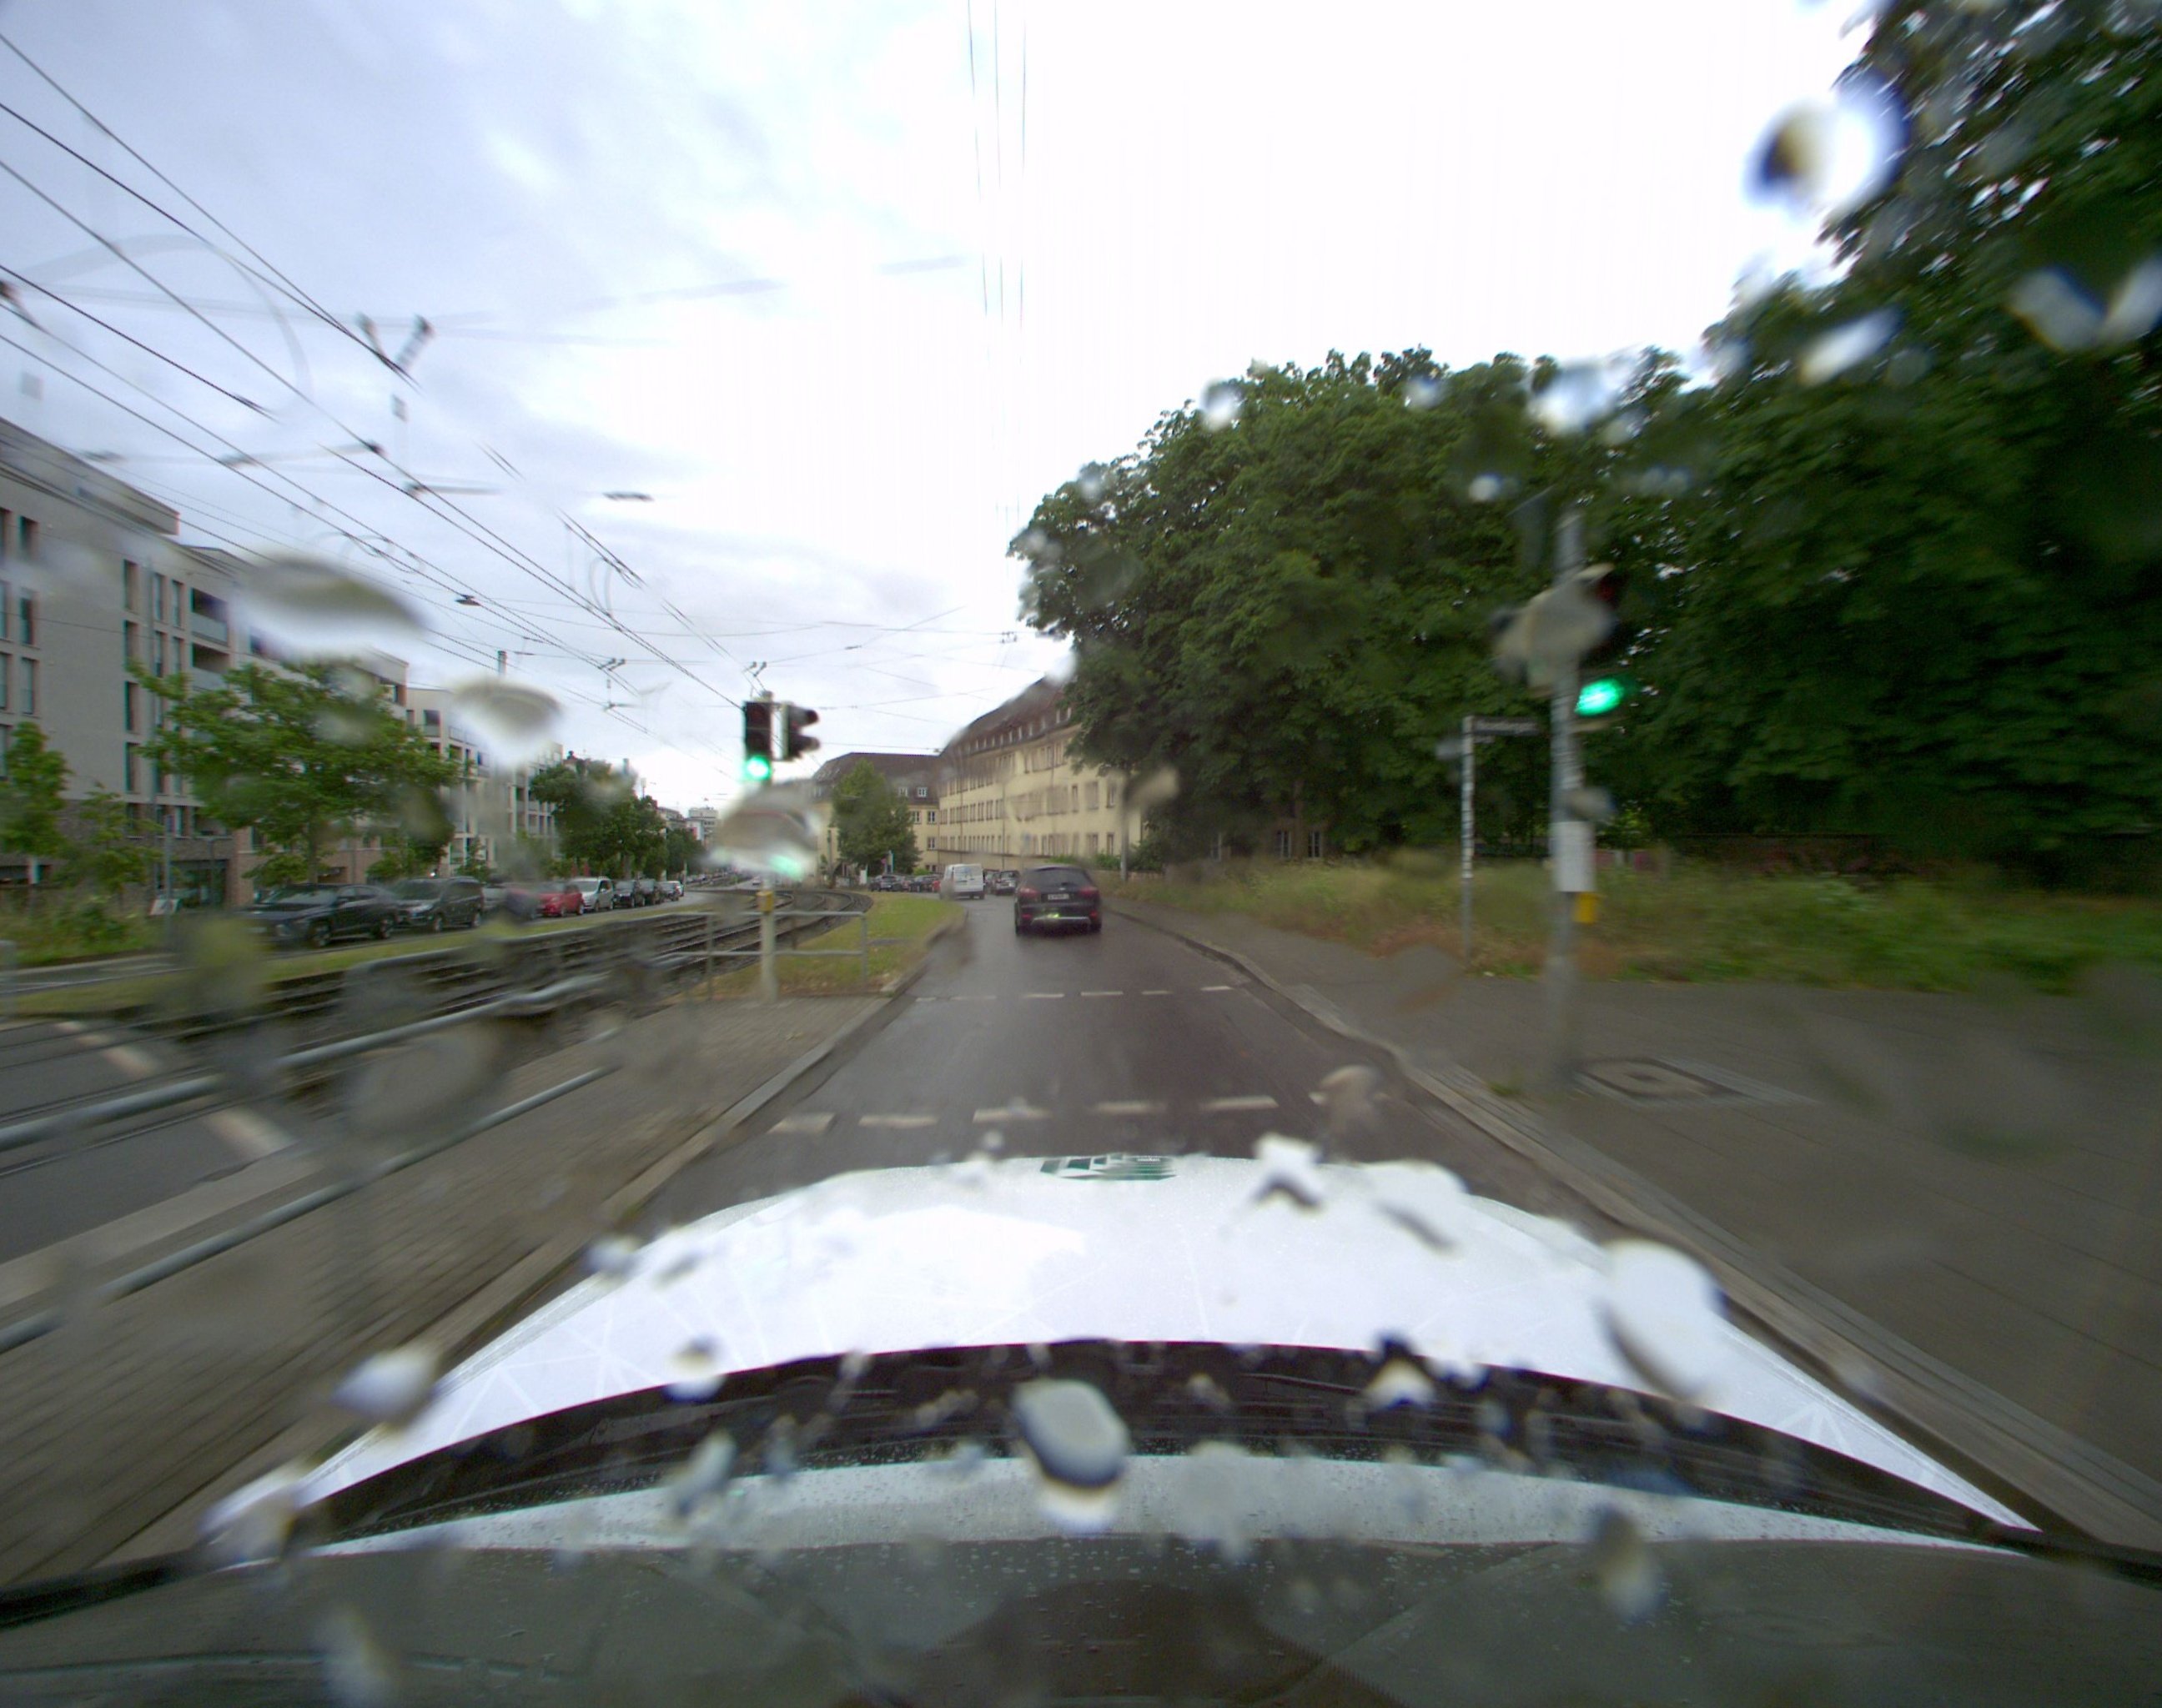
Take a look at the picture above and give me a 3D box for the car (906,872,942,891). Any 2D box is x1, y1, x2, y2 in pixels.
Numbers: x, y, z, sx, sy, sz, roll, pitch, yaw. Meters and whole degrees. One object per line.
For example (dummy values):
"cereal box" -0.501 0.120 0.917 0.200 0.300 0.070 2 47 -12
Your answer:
"car" -13.012 2.282 67.432 1.675 1.476 4.417 -2 -1 -27

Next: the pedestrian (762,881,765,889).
"pedestrian" -57.824 5.661 148.195 0.512 1.315 0.501 -1 -2 -28

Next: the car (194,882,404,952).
"car" -20.113 1.559 21.269 1.996 1.605 4.195 2 -2 -13

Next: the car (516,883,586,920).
"car" -23.308 2.052 35.915 1.469 1.531 2.921 1 -2 -10

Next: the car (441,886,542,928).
"car" -22.706 1.999 31.568 1.552 1.447 4.378 0 -2 -13

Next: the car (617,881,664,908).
"car" -27.712 2.497 51.376 1.808 1.584 4.667 0 -2 -19

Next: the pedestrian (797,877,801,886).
"pedestrian" -41.569 4.043 120.049 0.507 1.315 0.506 -1 -2 -31

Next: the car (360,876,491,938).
"car" -21.252 1.660 26.639 1.583 1.859 4.312 1 -2 -14

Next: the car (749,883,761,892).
"car" -65.696 6.683 164.239 2.000 1.772 3.973 -1 -1 -20

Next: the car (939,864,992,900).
"car" -6.223 1.441 43.496 2.142 1.745 4.194 -2 -1 -16

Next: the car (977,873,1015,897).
"car" -5.547 1.981 52.717 1.542 1.416 3.617 -2 -1 -21

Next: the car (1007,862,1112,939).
"car" -0.605 0.951 18.373 1.919 1.479 3.989 -2 -1 -8

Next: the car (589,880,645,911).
"car" -26.121 2.290 45.970 1.735 1.644 4.505 0 -2 -16

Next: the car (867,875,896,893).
"car" -19.033 2.850 77.537 1.675 1.524 4.071 -2 -1 -27

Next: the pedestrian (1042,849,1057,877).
"pedestrian" -2.039 0.600 52.639 0.720 1.755 0.734 -2 -1 -19

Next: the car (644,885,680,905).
"car" -31.501 3.035 61.327 1.973 1.431 4.168 0 -2 -21

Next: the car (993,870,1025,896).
"car" -4.365 1.736 49.085 1.598 1.465 2.711 -2 -1 -10

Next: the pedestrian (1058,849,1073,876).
"pedestrian" -1.000 0.554 53.030 0.720 1.755 0.734 -2 -1 -19

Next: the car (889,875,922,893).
"car" -15.725 2.696 72.656 1.676 1.476 4.069 -2 -1 -30

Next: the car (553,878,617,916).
"car" -24.722 2.106 40.725 1.667 1.748 4.233 -1 -2 -16

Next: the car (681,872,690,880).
"car" -98.476 5.563 202.891 2.004 2.014 3.966 -1 -2 -26

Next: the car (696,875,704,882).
"car" -105.907 6.822 226.119 2.004 1.662 3.966 -1 -2 -26

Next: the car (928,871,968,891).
"car" -10.360 2.126 63.118 1.676 1.477 4.025 0 -2 -31
